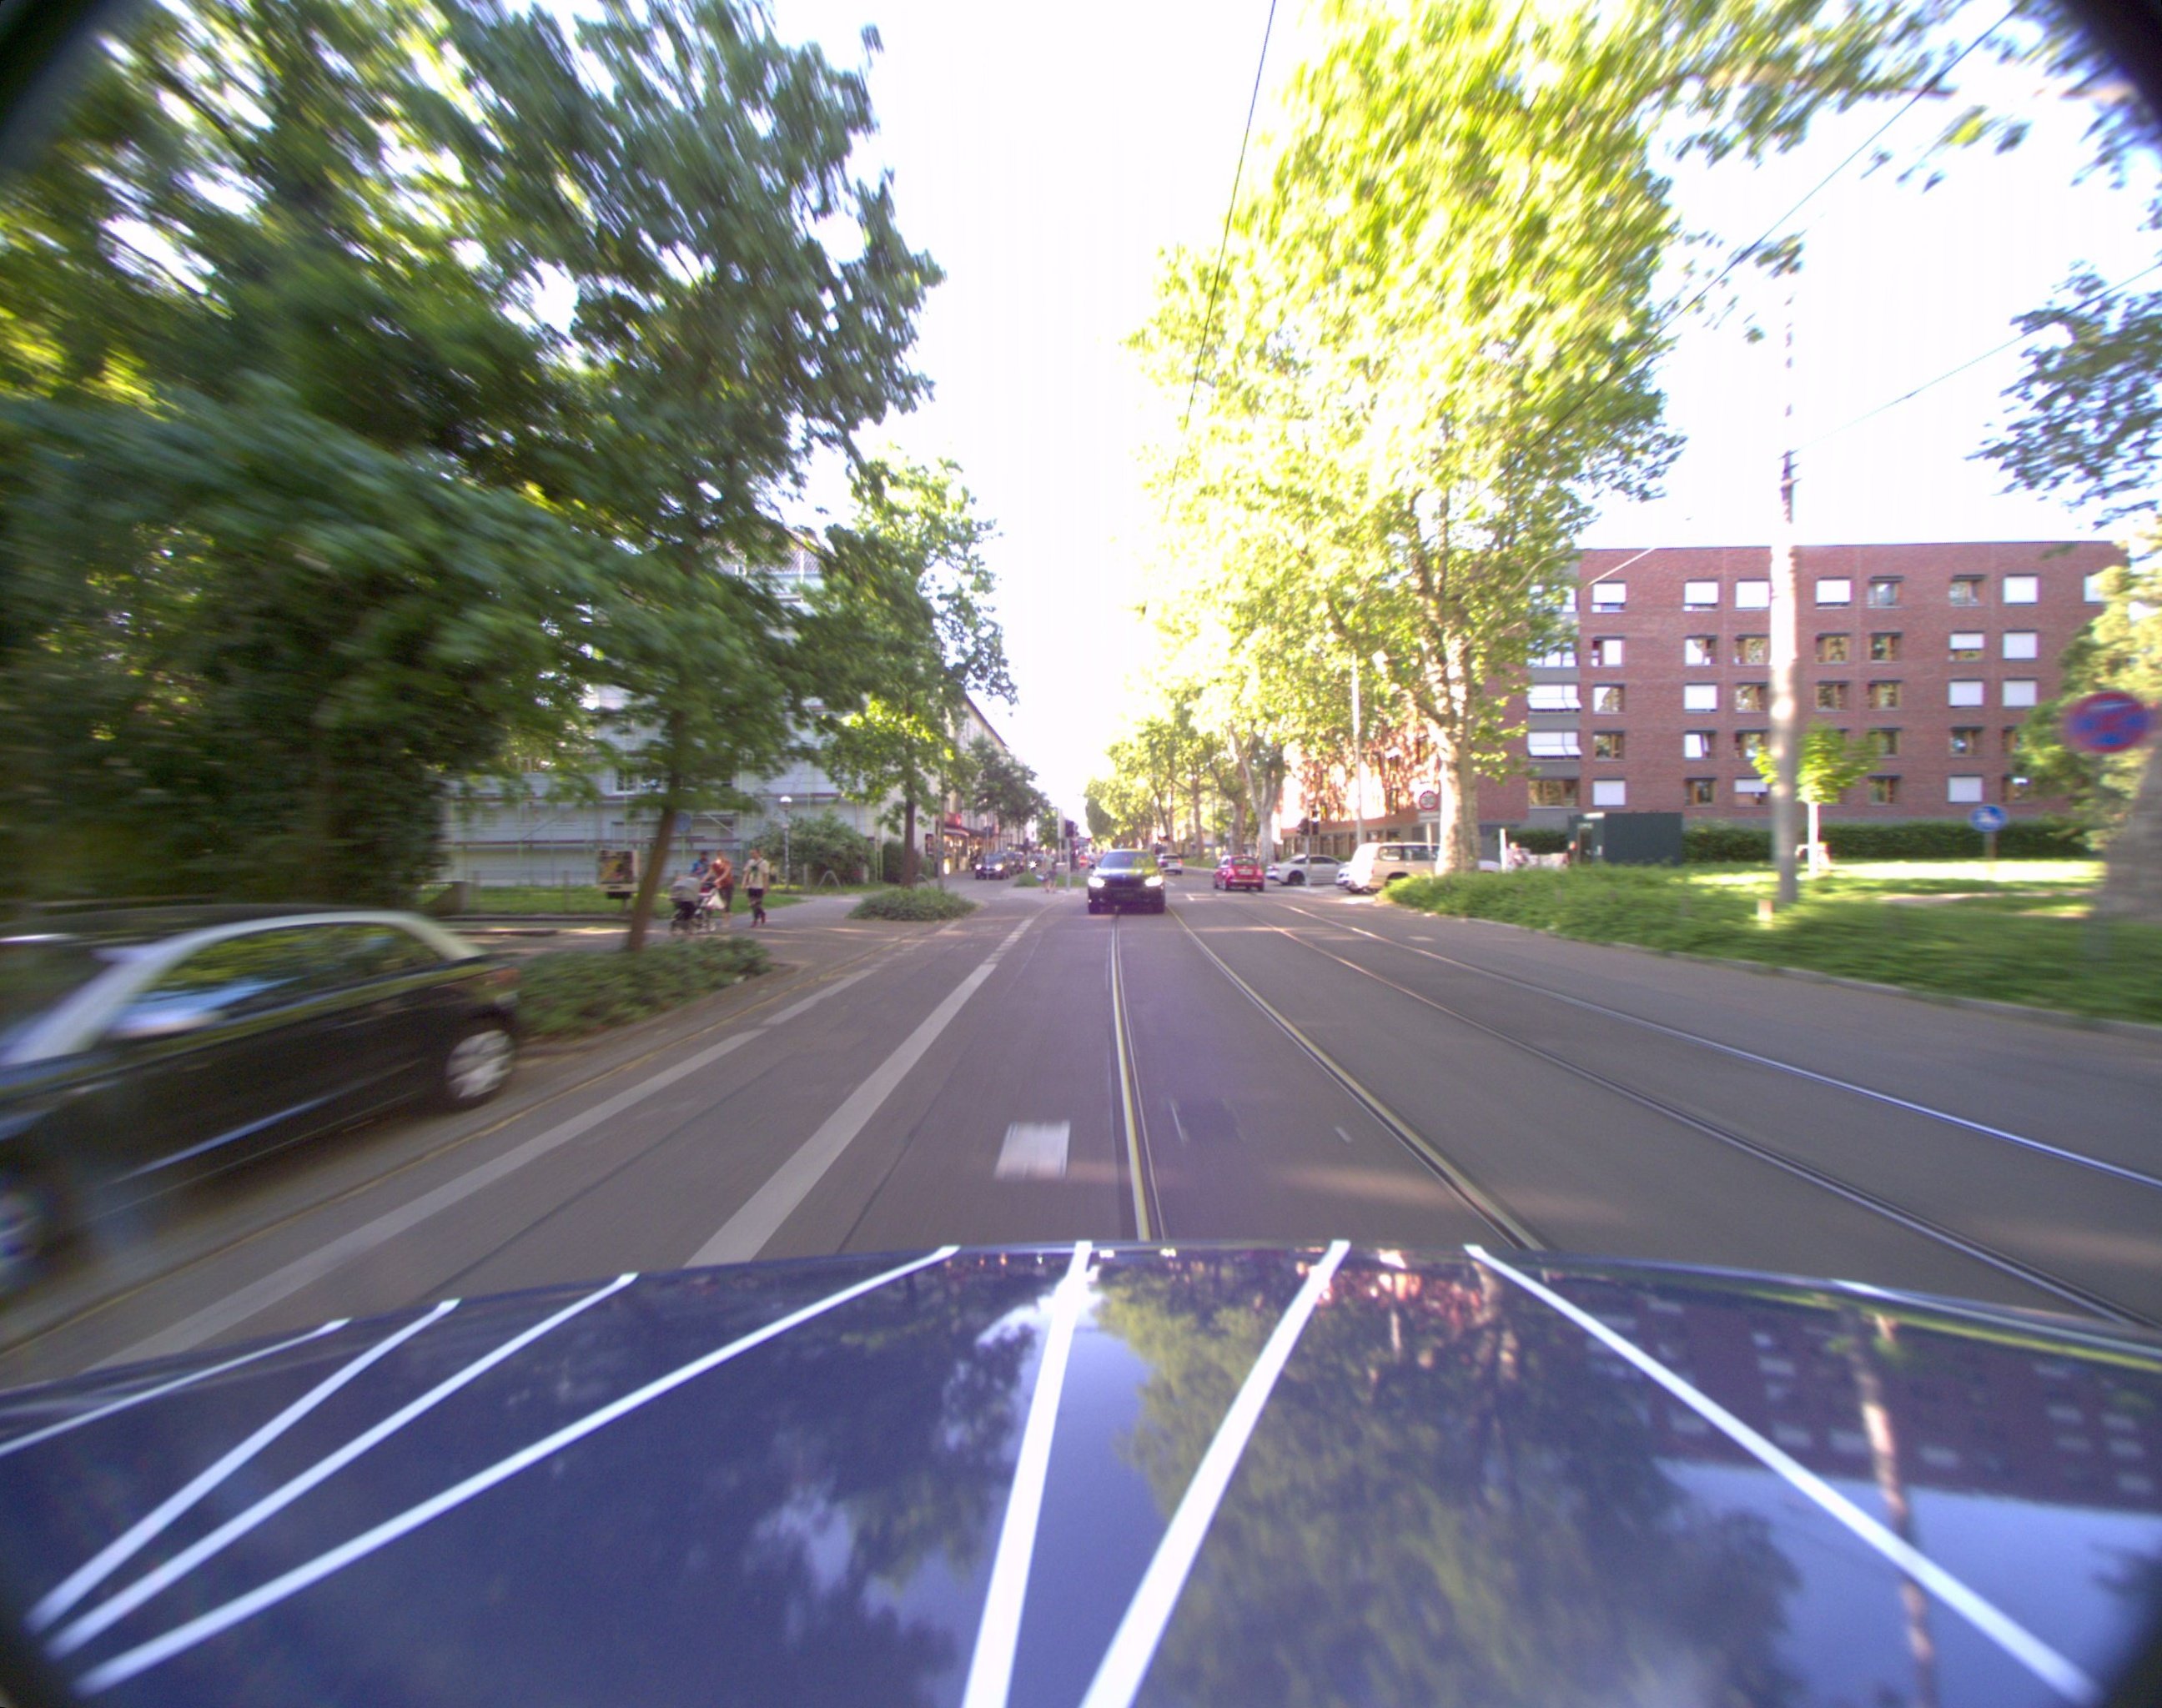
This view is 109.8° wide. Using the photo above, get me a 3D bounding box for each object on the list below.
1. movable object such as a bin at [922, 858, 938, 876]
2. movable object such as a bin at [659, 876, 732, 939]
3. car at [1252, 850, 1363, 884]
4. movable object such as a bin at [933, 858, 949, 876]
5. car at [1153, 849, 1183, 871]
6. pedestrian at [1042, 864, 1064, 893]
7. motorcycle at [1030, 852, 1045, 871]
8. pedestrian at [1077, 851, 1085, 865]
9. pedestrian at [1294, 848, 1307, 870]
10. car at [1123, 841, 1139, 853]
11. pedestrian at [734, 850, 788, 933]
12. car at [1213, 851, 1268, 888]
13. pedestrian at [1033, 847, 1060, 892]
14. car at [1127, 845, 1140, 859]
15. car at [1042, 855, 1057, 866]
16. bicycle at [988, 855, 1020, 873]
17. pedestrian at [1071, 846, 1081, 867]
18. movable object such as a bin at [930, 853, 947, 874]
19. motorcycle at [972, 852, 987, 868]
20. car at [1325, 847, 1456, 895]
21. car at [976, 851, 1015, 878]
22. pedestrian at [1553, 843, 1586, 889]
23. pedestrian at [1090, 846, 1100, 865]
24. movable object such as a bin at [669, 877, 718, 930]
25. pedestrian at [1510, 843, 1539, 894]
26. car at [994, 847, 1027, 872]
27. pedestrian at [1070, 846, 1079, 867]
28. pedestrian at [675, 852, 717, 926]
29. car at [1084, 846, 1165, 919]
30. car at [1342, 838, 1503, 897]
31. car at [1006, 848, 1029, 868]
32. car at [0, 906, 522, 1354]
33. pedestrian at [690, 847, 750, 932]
[{"bbox_3d":[-9.381,0.820,47.214,0.883,1.104,0.697,1,1,-1],"label":"movable object such as a bin"},{"bbox_3d":[-7.874,1.067,15.573,0.640,1.195,1.306,1,1,12],"label":"movable object such as a bin"},{"bbox_3d":[10.942,0.616,36.909,4.776,1.452,1.954,-2,1,0],"label":"car"},{"bbox_3d":[-8.778,0.788,47.697,0.883,1.104,0.697,1,1,-1],"label":"movable object such as a bin"},{"bbox_3d":[6.527,0.412,57.314,1.820,1.559,4.116,1,1,1],"label":"car"},{"bbox_3d":[-1.153,1.002,31.318,0.677,1.112,0.658,-2,1,-21],"label":"pedestrian"},{"bbox_3d":[-3.540,0.611,62.065,1.054,1.446,2.208,-2,1,1],"label":"motorcycle"},{"bbox_3d":[0.025,0.399,76.190,0.721,1.318,0.493,-2,1,-10],"label":"pedestrian"},{"bbox_3d":[18.131,0.412,62.848,0.765,1.734,0.972,-2,1,1],"label":"pedestrian"},{"bbox_3d":[7.161,-1.041,109.894,1.998,1.706,5.142,-2,1,1],"label":"car"},{"bbox_3d":[-7.069,0.800,16.802,0.727,1.783,0.854,1,1,12],"label":"pedestrian"},{"bbox_3d":[6.670,0.615,32.158,1.665,1.435,3.473,-2,1,2],"label":"car"},{"bbox_3d":[-1.496,0.653,32.535,0.870,1.874,0.996,-2,1,-17],"label":"pedestrian"},{"bbox_3d":[11.503,-0.497,166.266,2.429,2.833,5.072,-2,1,0],"label":"car"},{"bbox_3d":[-4.587,0.955,111.952,1.899,1.477,4.000,-2,1,1],"label":"car"},{"bbox_3d":[-5.716,0.736,56.391,2.209,1.203,1.029,1,1,1],"label":"bicycle"},{"bbox_3d":[-0.411,0.192,63.737,0.690,1.745,0.580,-2,1,-5],"label":"pedestrian"},{"bbox_3d":[-9.344,0.625,49.865,1.002,1.389,0.824,1,1,-1],"label":"movable object such as a bin"},{"bbox_3d":[-8.972,0.522,67.283,0.954,1.309,2.650,4,-1,-1],"label":"motorcycle"},{"bbox_3d":[11.601,0.610,28.641,4.150,1.637,1.902,-2,1,0],"label":"car"},{"bbox_3d":[-5.410,0.616,48.407,1.766,1.612,4.442,1,0,2],"label":"car"},{"bbox_3d":[18.287,0.431,28.453,0.711,1.663,0.779,-2,1,1],"label":"pedestrian"},{"bbox_3d":[1.295,0.176,69.496,0.836,1.703,0.640,-2,1,2],"label":"pedestrian"},{"bbox_3d":[-8.836,1.108,17.365,0.667,1.120,0.956,-2,1,-6],"label":"movable object such as a bin"},{"bbox_3d":[16.202,0.516,27.776,0.645,1.799,0.752,-1,1,6],"label":"pedestrian"},{"bbox_3d":[-5.638,0.406,61.201,1.998,1.885,4.194,2,0,3],"label":"car"},{"bbox_3d":[-0.552,0.188,64.451,0.493,1.760,0.704,-1,1,16],"label":"pedestrian"},{"bbox_3d":[-9.136,0.811,18.037,0.619,1.716,0.554,-2,1,4],"label":"pedestrian"},{"bbox_3d":[1.337,0.680,21.309,1.936,1.719,5.074,-2,1,6],"label":"car"},{"bbox_3d":[11.536,0.432,25.887,4.582,1.823,1.938,-2,1,1],"label":"car"},{"bbox_3d":[-5.672,0.326,67.838,1.693,1.745,4.173,-2,1,0],"label":"car"},{"bbox_3d":[-4.836,1.120,3.511,1.677,1.404,3.842,2,1,-1],"label":"car"},{"bbox_3d":[-7.858,0.753,16.587,0.727,1.783,0.969,1,1,12],"label":"pedestrian"}]
